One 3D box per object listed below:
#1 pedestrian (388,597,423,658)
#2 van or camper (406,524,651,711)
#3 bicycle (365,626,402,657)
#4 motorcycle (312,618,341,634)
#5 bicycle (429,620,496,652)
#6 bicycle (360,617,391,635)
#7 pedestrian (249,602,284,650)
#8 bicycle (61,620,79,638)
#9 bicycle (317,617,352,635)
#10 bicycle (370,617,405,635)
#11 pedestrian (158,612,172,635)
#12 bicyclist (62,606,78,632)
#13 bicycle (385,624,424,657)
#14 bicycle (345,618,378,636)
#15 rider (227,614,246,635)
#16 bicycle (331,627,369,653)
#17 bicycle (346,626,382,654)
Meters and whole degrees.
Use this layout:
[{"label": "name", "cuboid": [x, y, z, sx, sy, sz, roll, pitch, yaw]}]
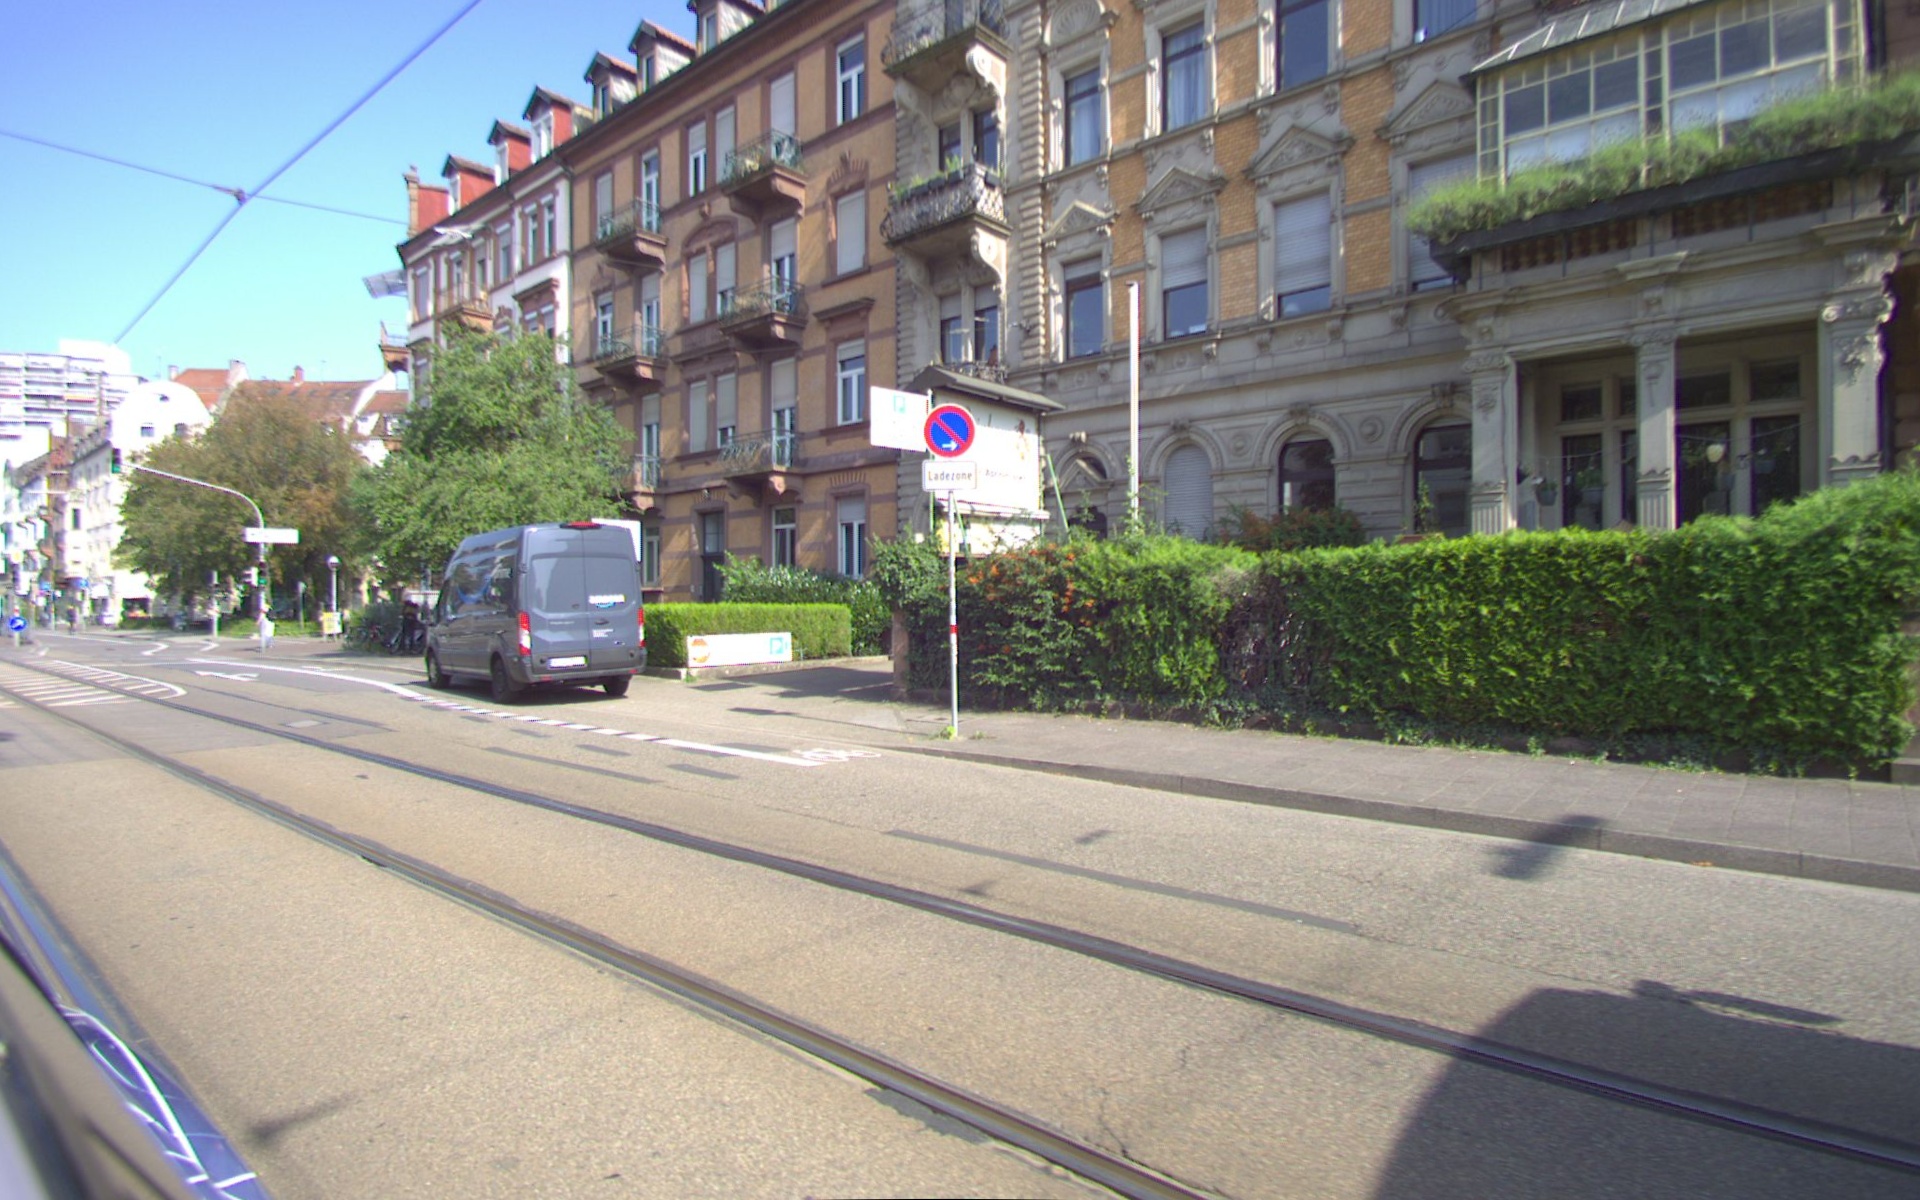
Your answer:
[{"label": "pedestrian", "cuboid": [-15.656, 0.774, 28.564, 0.631, 1.691, 0.632, -1, -1, 29]}, {"label": "van or camper", "cuboid": [-7.610, 0.272, 17.380, 2.025, 2.664, 6.097, 1, -1, -42]}, {"label": "bicycle", "cuboid": [-17.203, 1.228, 30.194, 1.703, 0.866, 0.520, -2, -1, 45]}, {"label": "motorcycle", "cuboid": [-50.862, 2.097, 81.261, 0.674, 1.186, 1.868, -1, 1, 26]}, {"label": "bicycle", "cuboid": [-14.396, 1.027, 29.321, 0.528, 0.866, 1.679, -2, -1, 41]}, {"label": "bicycle", "cuboid": [-45.963, 2.062, 79.606, 0.859, 1.381, 2.294, -1, -1, 12]}, {"label": "pedestrian", "cuboid": [-26.766, 0.991, 39.063, 1.186, 1.779, 0.894, -1, -1, 45]}, {"label": "bicycle", "cuboid": [-56.925, 1.845, 64.742, 2.069, 1.112, 0.676, -1, -1, 44]}, {"label": "bicycle", "cuboid": [-50.001, 2.041, 80.918, 0.864, 1.381, 2.280, -1, -1, 30]}, {"label": "bicycle", "cuboid": [-44.687, 2.015, 78.964, 0.864, 1.381, 2.281, -1, -1, 29]}, {"label": "pedestrian", "cuboid": [-65.131, 1.912, 82.904, 0.672, 1.882, 0.726, -1, -1, 37]}, {"label": "bicyclist", "cuboid": [-56.893, 1.222, 64.706, 1.044, 1.626, 0.666, -1, -1, 43]}, {"label": "bicycle", "cuboid": [-15.955, 1.150, 29.050, 1.703, 0.934, 0.520, -2, -1, 45]}, {"label": "bicycle", "cuboid": [-47.243, 2.111, 79.909, 0.859, 1.381, 2.294, -1, -1, 12]}, {"label": "rider", "cuboid": [-54.144, 1.806, 75.726, 0.983, 1.523, 1.115, -2, 0, -45]}, {"label": "bicycle", "cuboid": [-21.375, 1.394, 35.481, 0.519, 0.866, 1.832, -1, 0, -11]}, {"label": "bicycle", "cuboid": [-19.109, 1.259, 32.436, 1.829, 0.866, 0.520, -2, -1, 45]}]
